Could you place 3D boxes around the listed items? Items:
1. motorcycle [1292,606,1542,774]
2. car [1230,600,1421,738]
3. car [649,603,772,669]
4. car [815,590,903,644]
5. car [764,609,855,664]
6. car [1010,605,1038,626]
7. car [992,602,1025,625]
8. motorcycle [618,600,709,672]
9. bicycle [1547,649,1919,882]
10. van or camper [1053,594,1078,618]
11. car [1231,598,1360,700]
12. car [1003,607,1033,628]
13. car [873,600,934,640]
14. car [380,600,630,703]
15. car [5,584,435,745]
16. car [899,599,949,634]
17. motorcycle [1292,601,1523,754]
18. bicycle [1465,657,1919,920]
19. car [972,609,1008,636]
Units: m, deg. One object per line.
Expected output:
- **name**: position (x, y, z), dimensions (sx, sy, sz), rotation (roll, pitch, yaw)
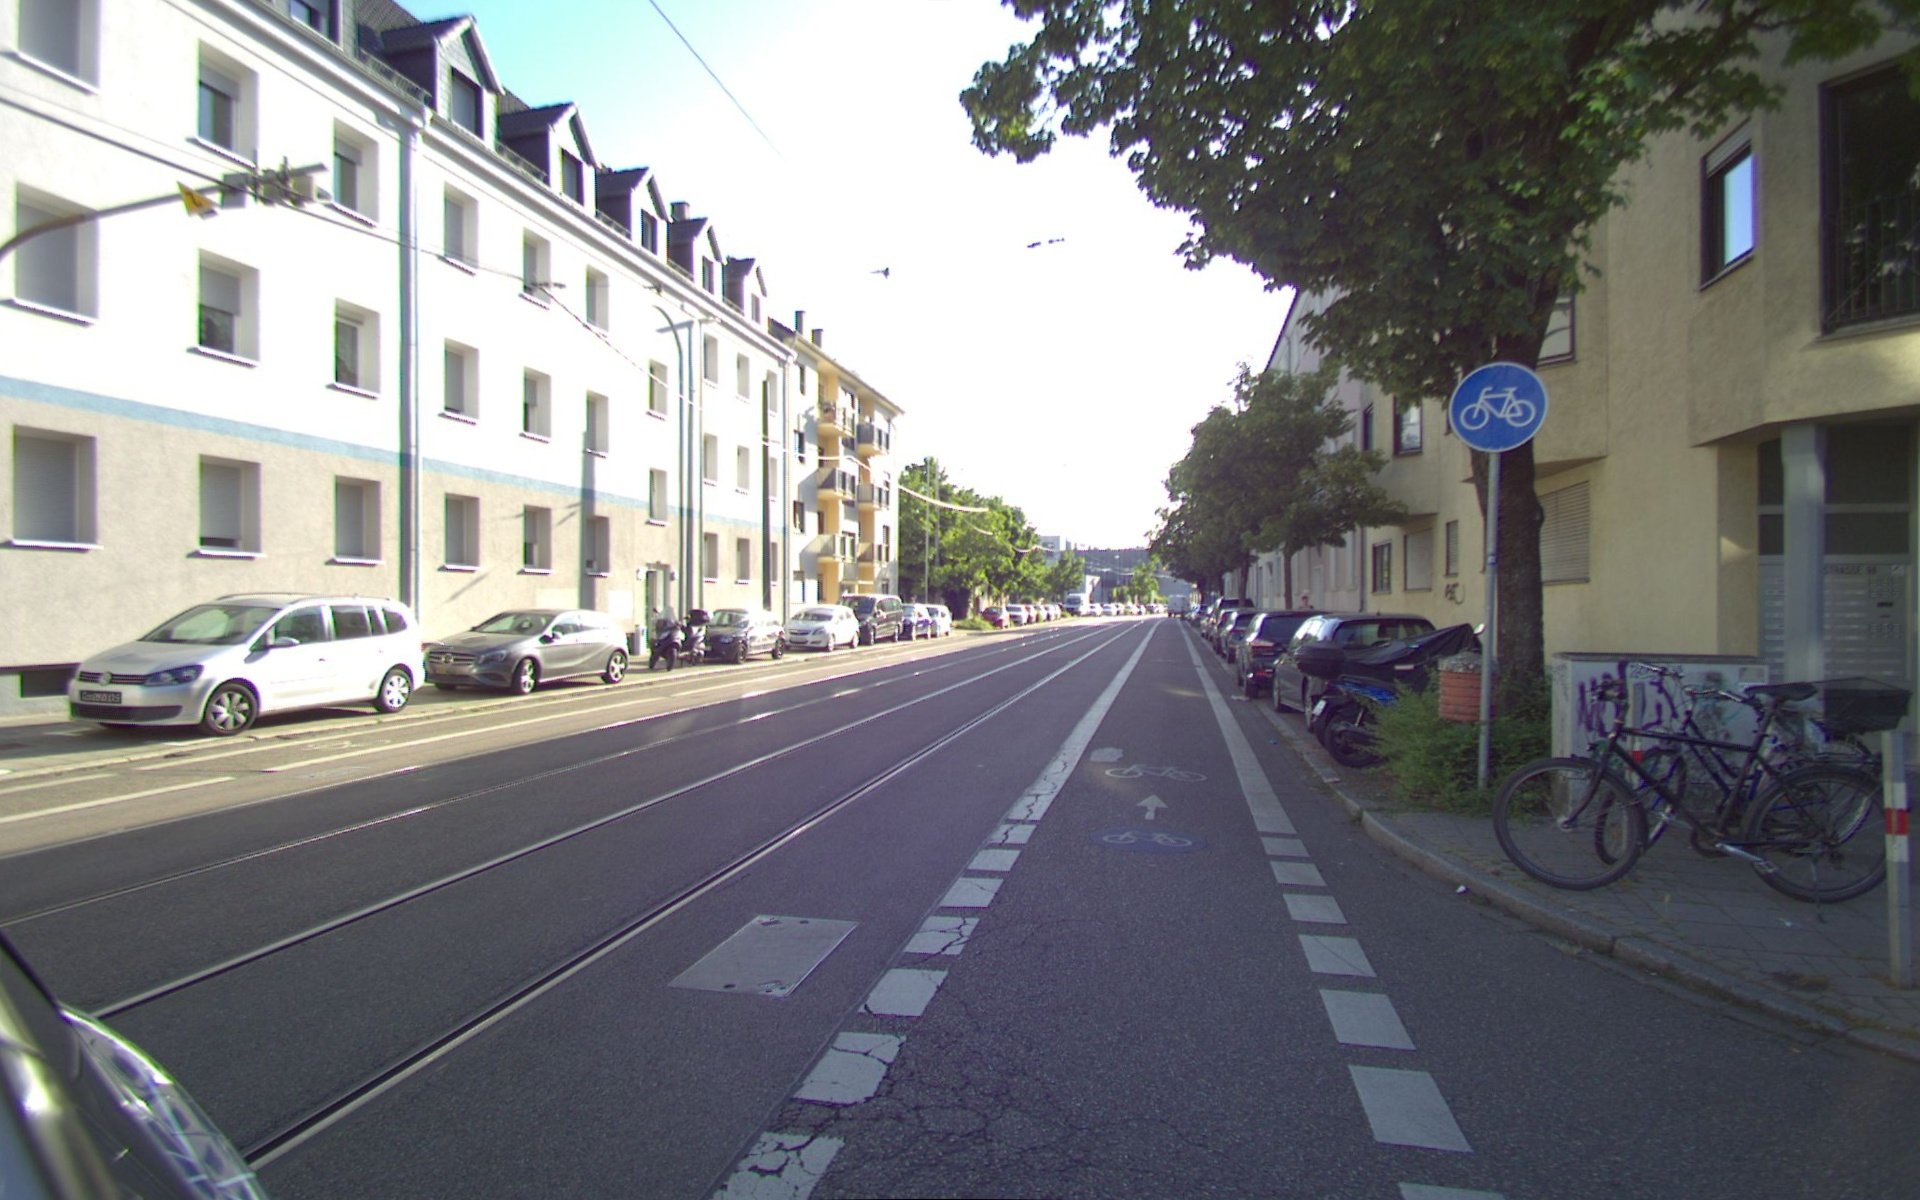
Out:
- **motorcycle**: position (4.146, 0.797, 9.306), dimensions (1.950, 1.458, 0.719), rotation (0, 0, 6)
- **car**: position (4.685, 0.814, 13.562), dimensions (1.722, 1.554, 4.115), rotation (-1, -1, 10)
- **car**: position (-6.618, 0.905, 27.260), dimensions (1.598, 1.583, 3.887), rotation (1, 1, 13)
- **car**: position (-3.839, 0.606, 39.357), dimensions (1.916, 1.935, 4.983), rotation (1, 1, 13)
- **car**: position (-4.907, 1.156, 33.471), dimensions (1.787, 1.583, 3.890), rotation (1, 1, 11)
- **car**: position (5.495, 1.304, 86.619), dimensions (1.810, 1.583, 4.462), rotation (1, 1, 11)
- **car**: position (3.689, 0.994, 76.457), dimensions (1.810, 1.583, 4.462), rotation (1, 1, 11)
- **motorcycle**: position (-6.830, 0.782, 23.482), dimensions (0.800, 1.533, 2.697), rotation (1, 1, 13)
- **bicycle**: position (4.207, 0.830, 5.360), dimensions (1.794, 1.093, 0.592), rotation (0, 0, 15)
- **van or camper**: position (12.192, 0.653, 116.628), dimensions (2.072, 2.582, 5.668), rotation (-1, 1, 14)
- **car**: position (5.899, 0.766, 18.289), dimensions (1.753, 1.554, 4.713), rotation (-1, 0, 13)
- **car**: position (4.737, 1.376, 81.759), dimensions (1.810, 1.583, 4.462), rotation (1, 1, 11)
- **car**: position (-2.408, 0.842, 44.221), dimensions (1.597, 1.583, 4.202), rotation (1, 1, 12)
- **car**: position (-8.035, 0.821, 18.379), dimensions (1.852, 1.566, 4.346), rotation (1, 1, 14)
- **car**: position (-9.145, 0.657, 13.119), dimensions (1.741, 1.678, 4.613), rotation (1, 1, 9)
- **car**: position (-1.692, 0.753, 48.726), dimensions (1.542, 1.554, 3.618), rotation (1, 1, 12)
- **motorcycle**: position (4.464, 0.752, 10.224), dimensions (1.950, 1.458, 0.835), rotation (0, 0, 6)
- **bicycle**: position (3.530, 0.845, 4.872), dimensions (1.865, 1.093, 0.592), rotation (0, 0, 15)
- **car**: position (1.995, 1.441, 66.882), dimensions (1.597, 1.583, 4.461), rotation (1, 1, 12)
